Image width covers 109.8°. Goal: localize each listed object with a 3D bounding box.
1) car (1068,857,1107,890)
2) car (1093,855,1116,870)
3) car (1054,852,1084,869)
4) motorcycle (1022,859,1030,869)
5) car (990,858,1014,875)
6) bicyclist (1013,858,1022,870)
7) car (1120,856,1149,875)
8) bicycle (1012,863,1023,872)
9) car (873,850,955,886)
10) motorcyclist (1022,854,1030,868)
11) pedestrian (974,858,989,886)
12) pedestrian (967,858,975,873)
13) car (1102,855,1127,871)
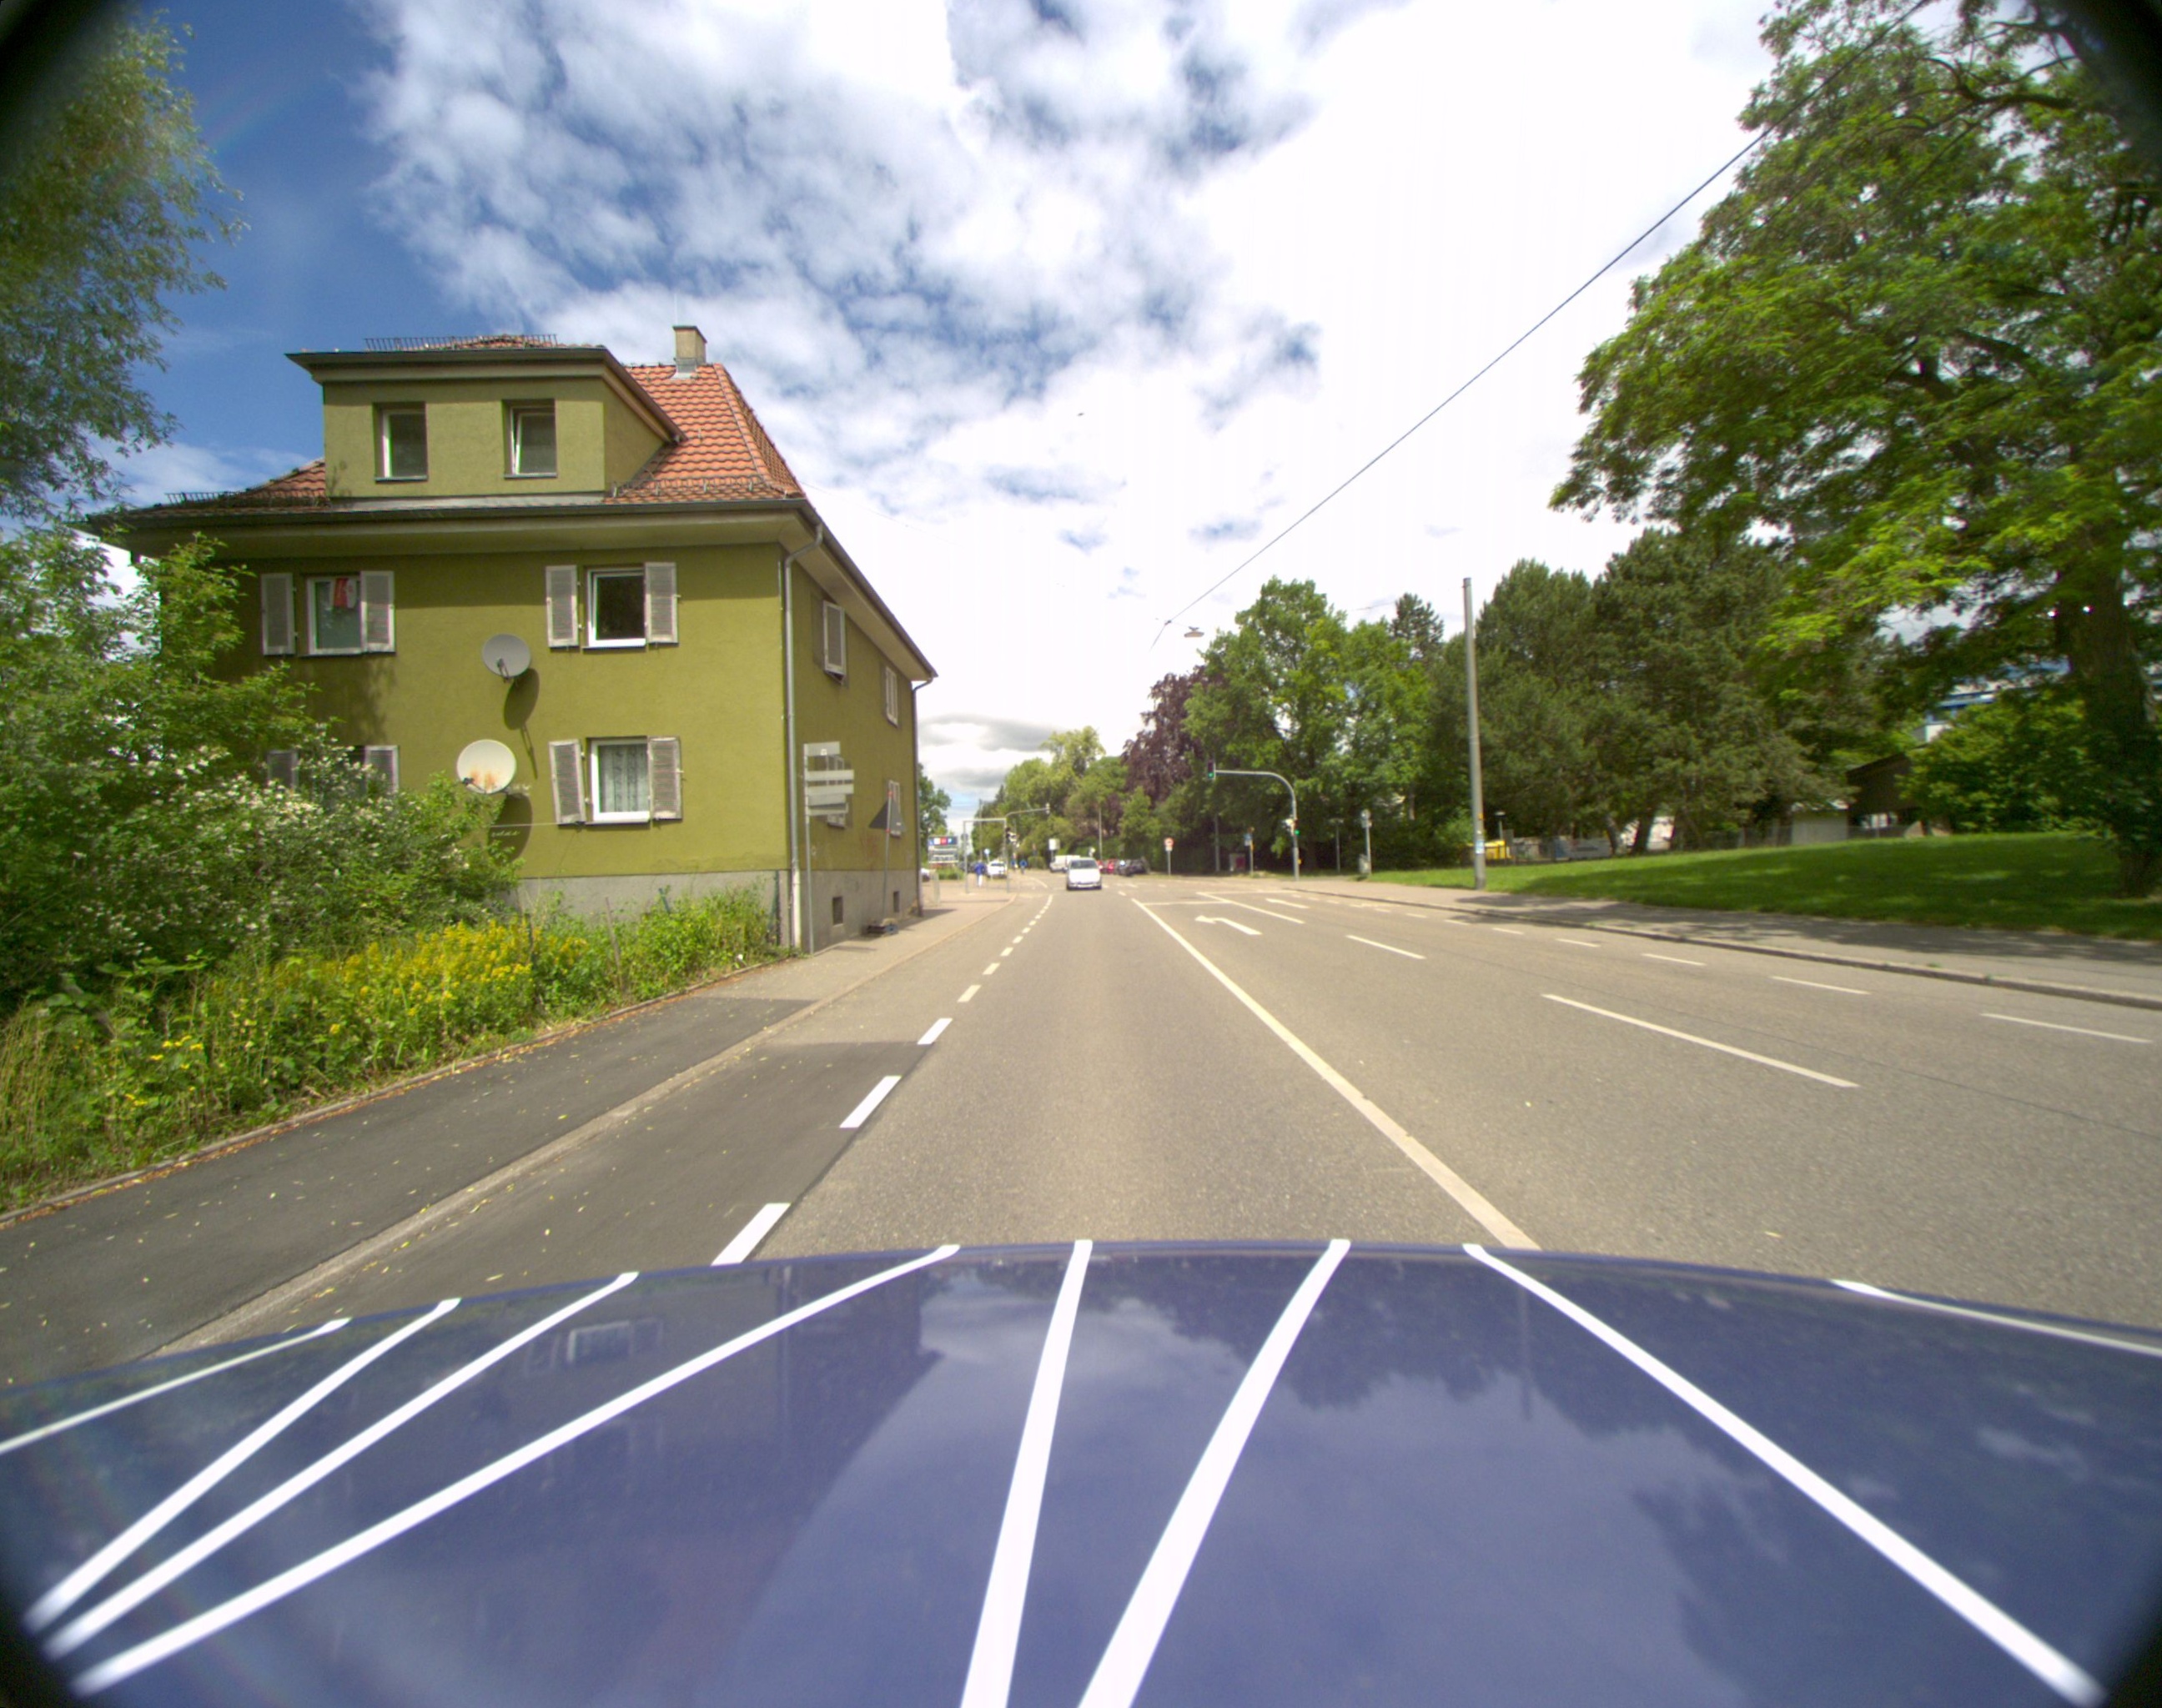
[{"bbox_3d":[0.318,0.940,38.175,1.781,1.519,4.000,-2,0,0],"label":"car"},{"bbox_3d":[2.501,0.911,82.196,1.900,1.501,3.997,0,1,-7],"label":"car"},{"bbox_3d":[-1.365,0.726,84.718,1.802,1.787,4.494,-1,1,-23],"label":"car"},{"bbox_3d":[-6.235,1.120,86.312,0.837,1.101,1.800,0,0,-1],"label":"motorcycle"},{"bbox_3d":[-7.105,1.124,69.015,1.799,1.501,3.999,0,0,0],"label":"car"},{"bbox_3d":[-8.389,1.347,100.252,0.809,1.599,0.770,-4,1,-29],"label":"bicyclist"},{"bbox_3d":[4.713,0.991,67.530,1.900,1.501,3.997,0,1,-7],"label":"car"},{"bbox_3d":[-8.374,1.765,100.267,0.815,1.101,1.796,-4,0,-29],"label":"bicycle"},{"bbox_3d":[-9.987,0.821,45.588,4.364,1.983,2.001,-1,1,9],"label":"car"},{"bbox_3d":[-6.249,0.810,86.321,0.837,1.547,0.650,0,1,-1],"label":"motorcyclist"},{"bbox_3d":[-5.725,1.029,43.690,0.729,1.543,1.056,-2,0,-10],"label":"pedestrian"},{"bbox_3d":[-12.485,1.283,86.000,0.723,1.651,0.777,-4,1,-4],"label":"pedestrian"},{"bbox_3d":[3.378,0.934,77.211,1.900,1.501,3.997,0,1,-7],"label":"car"}]
